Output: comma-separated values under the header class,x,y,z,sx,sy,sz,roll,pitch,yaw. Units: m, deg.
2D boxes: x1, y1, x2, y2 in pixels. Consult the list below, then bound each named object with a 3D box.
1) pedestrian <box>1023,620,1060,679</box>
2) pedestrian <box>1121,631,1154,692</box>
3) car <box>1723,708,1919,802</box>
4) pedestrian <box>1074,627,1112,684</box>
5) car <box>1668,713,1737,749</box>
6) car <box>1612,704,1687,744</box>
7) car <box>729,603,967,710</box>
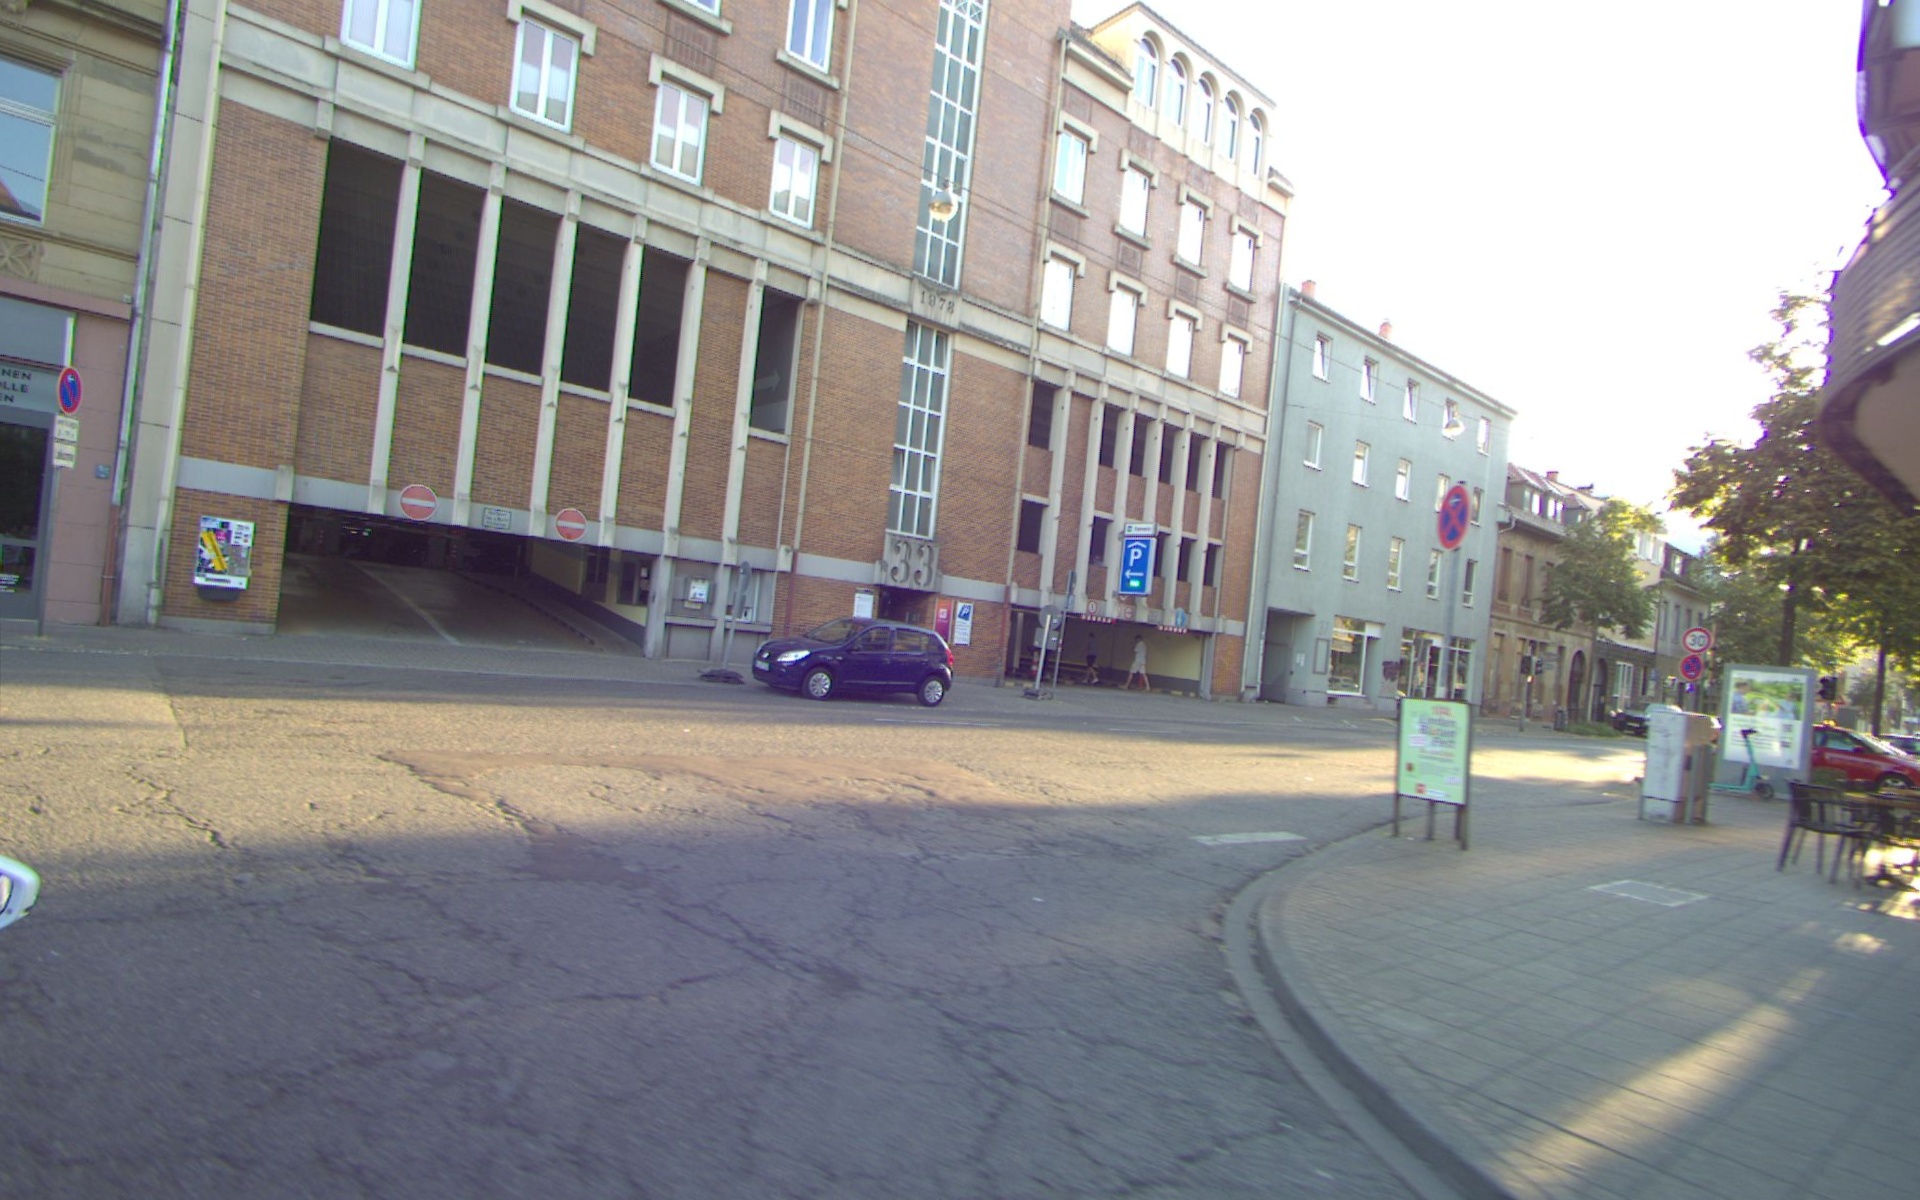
class,x,y,z,sx,sy,sz,roll,pitch,yaw
pedestrian,2.756,1.671,33.918,0.882,1.855,0.636,6,-1,28
pedestrian,5.619,1.944,31.751,0.668,1.850,0.674,6,-1,28
car,20.237,3.533,22.732,1.804,1.560,4.397,7,-2,-40
pedestrian,4.407,1.850,33.306,0.882,1.771,0.674,6,-1,28
car,39.251,6.939,53.155,3.971,1.570,1.978,8,-2,-40
car,33.627,6.048,49.016,3.971,1.570,1.978,8,-2,-40
car,-2.089,1.108,19.263,3.969,1.537,1.979,8,-2,-39
